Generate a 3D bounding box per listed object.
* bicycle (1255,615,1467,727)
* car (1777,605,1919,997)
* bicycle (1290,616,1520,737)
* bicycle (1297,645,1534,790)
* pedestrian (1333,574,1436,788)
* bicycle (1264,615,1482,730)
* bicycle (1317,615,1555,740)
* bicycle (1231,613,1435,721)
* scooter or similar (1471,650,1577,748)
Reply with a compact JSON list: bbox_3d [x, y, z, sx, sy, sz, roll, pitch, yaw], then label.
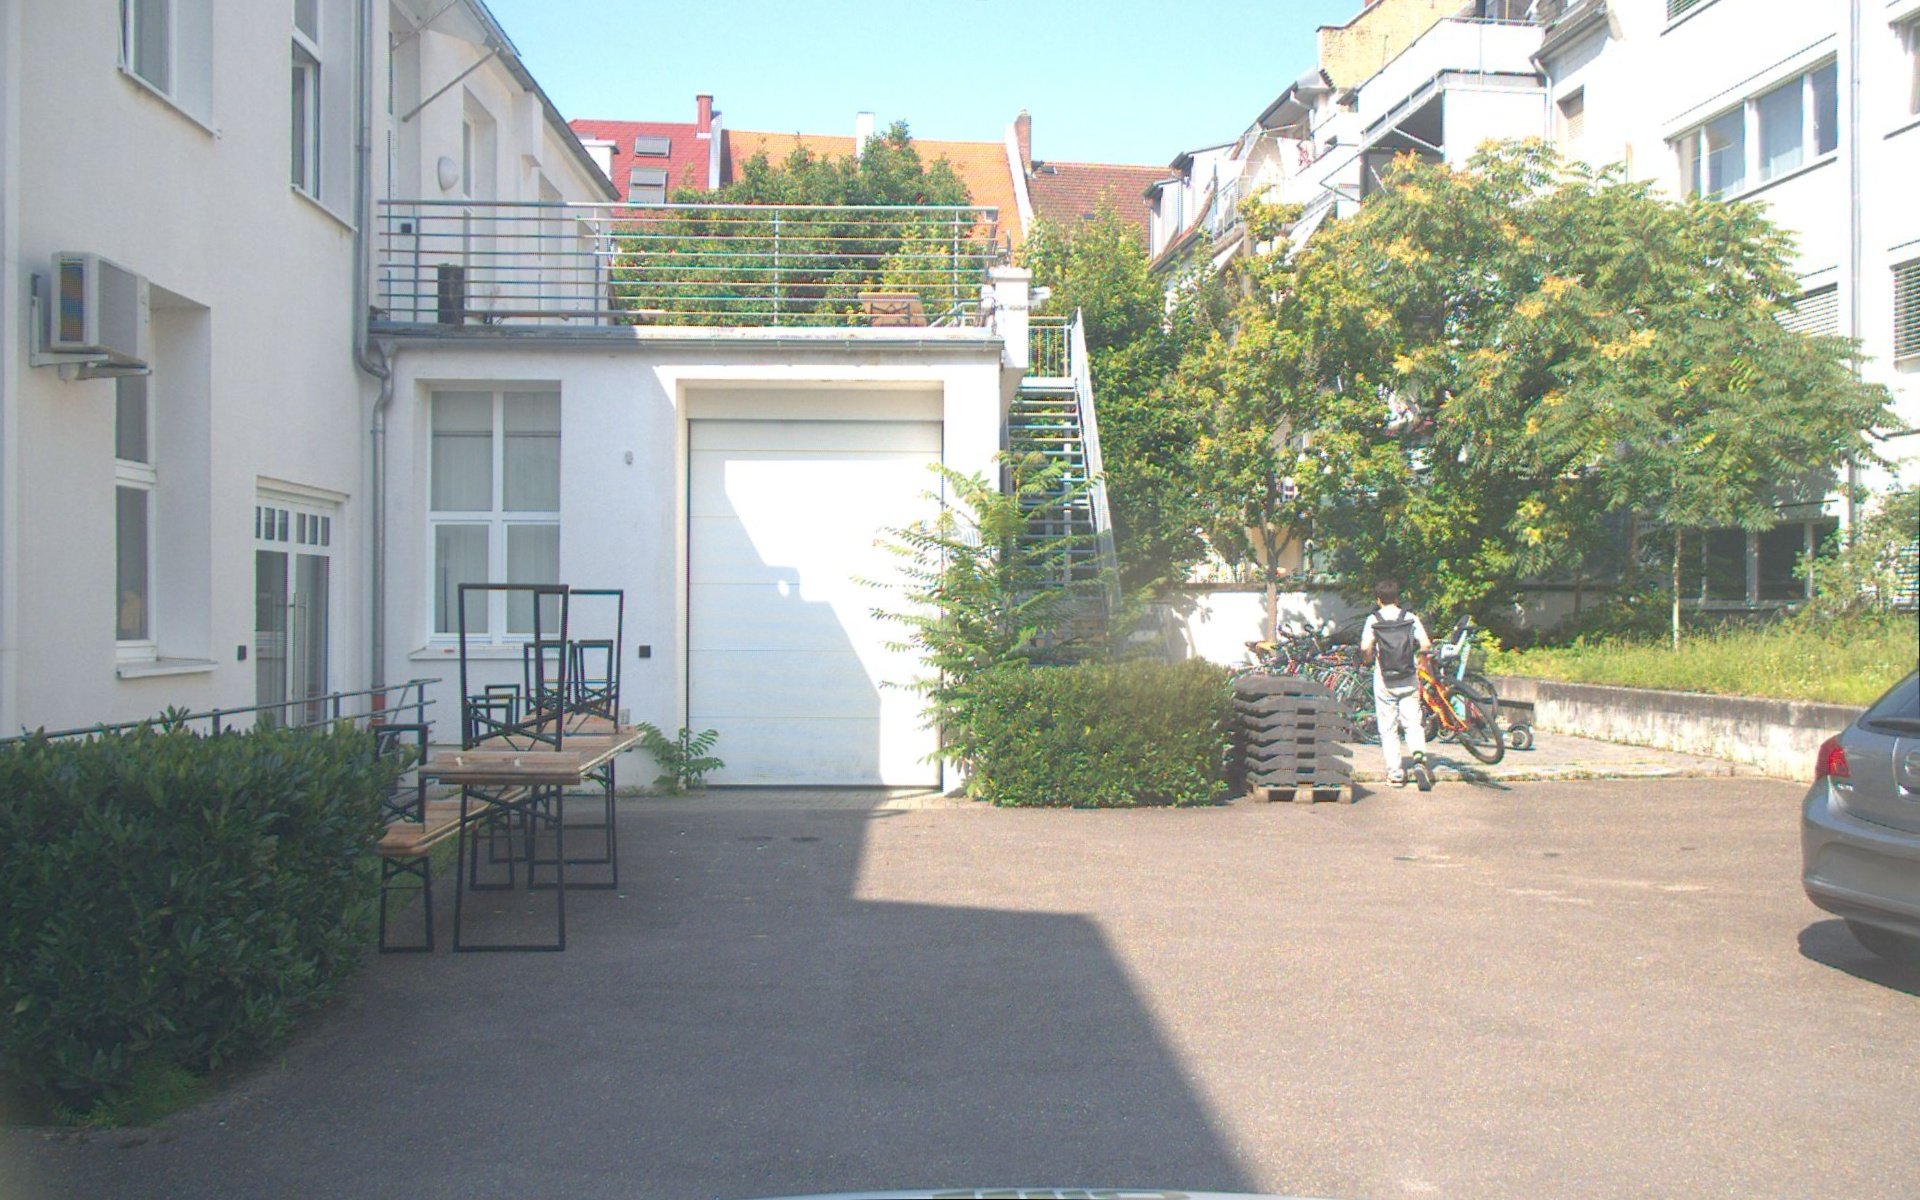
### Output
[{"bbox_3d":[4.712,0.826,19.488,2.362,1.268,0.526,1,0,-2],"label":"bicycle"},{"bbox_3d":[5.541,0.762,6.766,3.832,1.491,1.656,0,0,-15],"label":"car"},{"bbox_3d":[4.850,0.828,18.079,2.362,1.268,0.526,1,0,-2],"label":"bicycle"},{"bbox_3d":[3.965,0.995,14.493,1.954,1.163,0.488,-1,0,36],"label":"bicycle"},{"bbox_3d":[3.718,0.686,14.469,0.599,1.803,0.858,0,-1,35],"label":"pedestrian"},{"bbox_3d":[4.698,0.818,18.871,2.362,1.268,0.526,1,0,-2],"label":"bicycle"},{"bbox_3d":[5.000,0.806,17.423,2.362,1.268,0.526,1,0,-2],"label":"bicycle"},{"bbox_3d":[4.543,0.808,20.198,2.362,1.268,0.526,1,0,-2],"label":"bicycle"},{"bbox_3d":[5.730,0.995,16.833,0.357,0.940,0.985,1,0,-39],"label":"scooter or similar"}]
